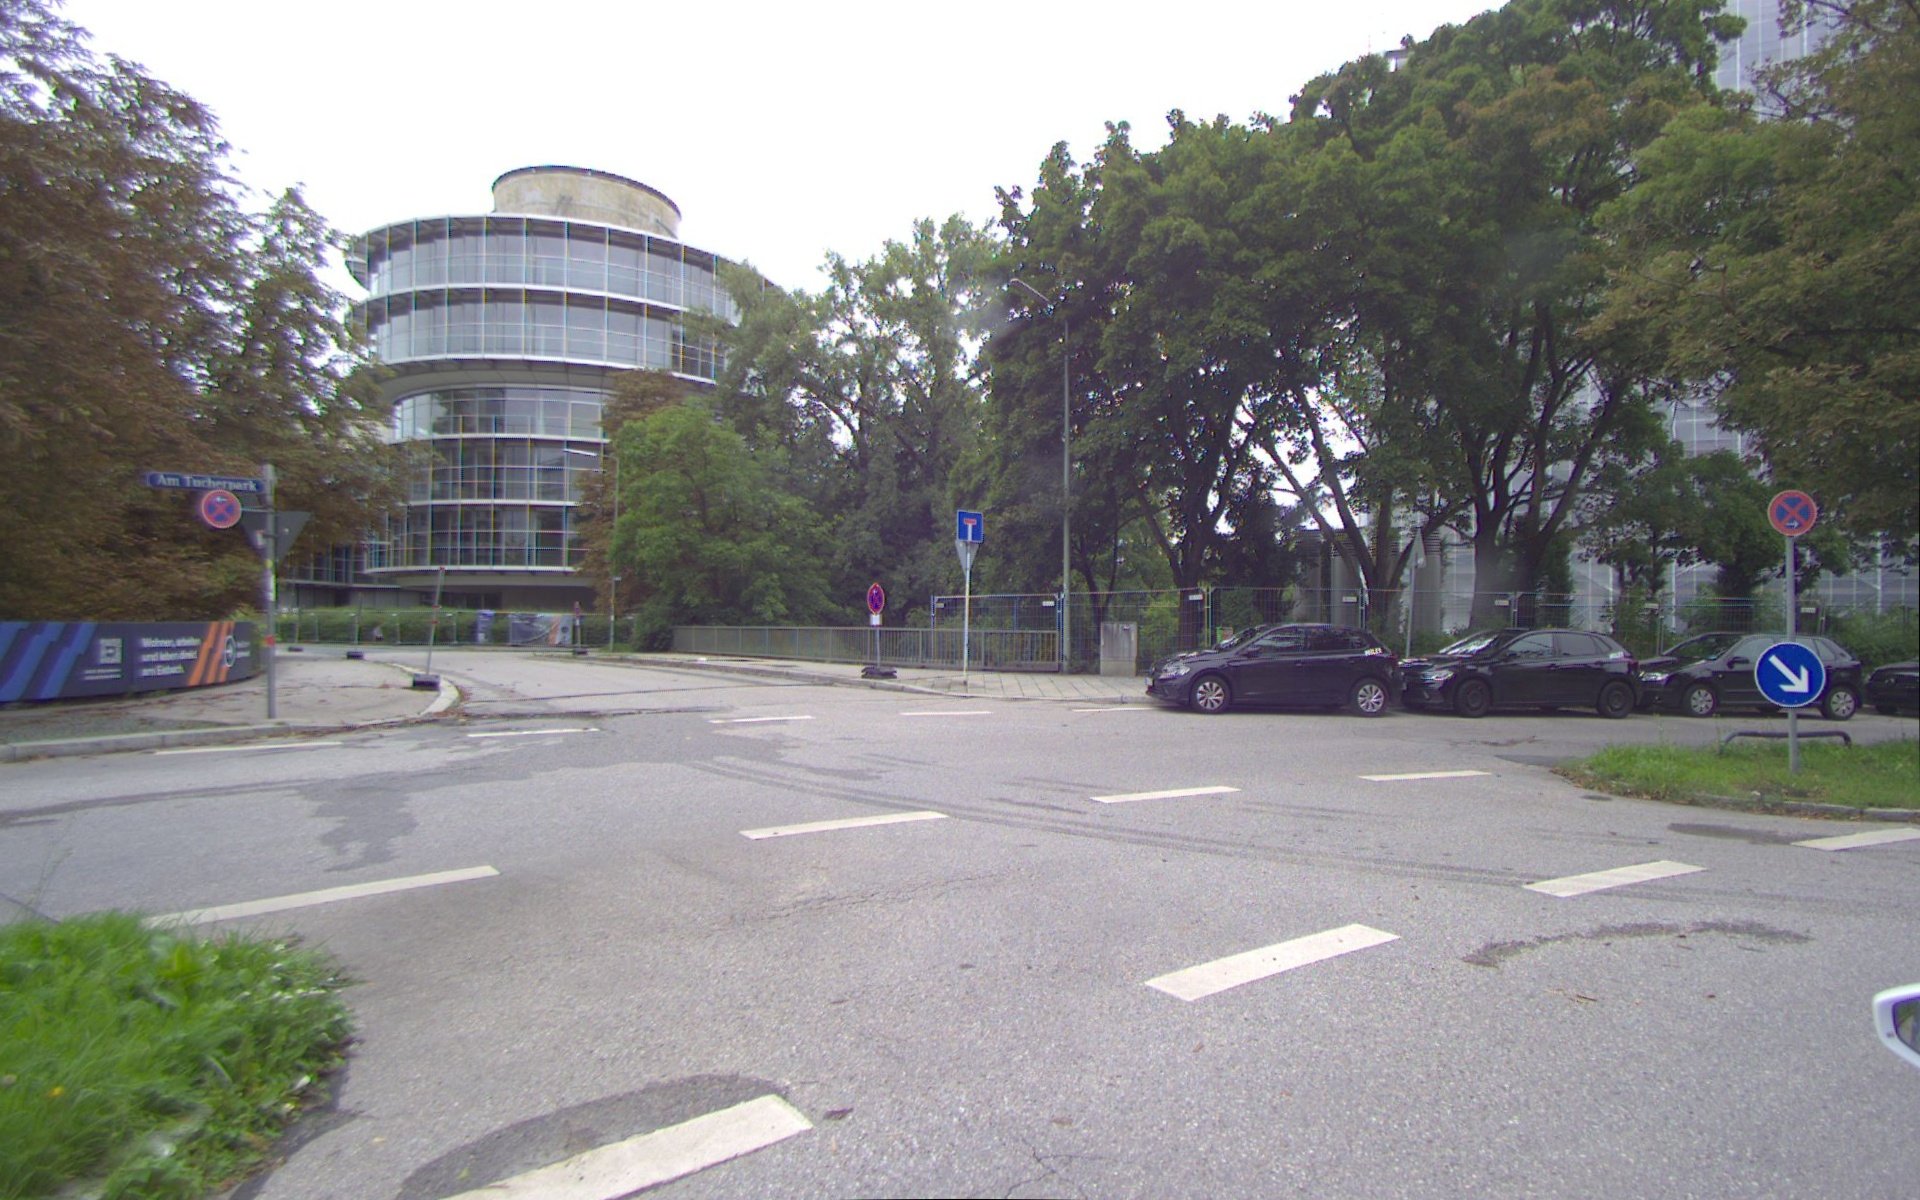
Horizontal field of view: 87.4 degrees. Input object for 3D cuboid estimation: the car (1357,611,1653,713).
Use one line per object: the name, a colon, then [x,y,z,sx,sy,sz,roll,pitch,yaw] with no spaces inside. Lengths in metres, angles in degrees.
car: [9.059,1.008,16.920,3.924,1.561,1.999,1,0,-4]

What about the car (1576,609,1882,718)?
car: [13.410,1.067,17.687,3.924,1.728,1.999,1,0,-4]

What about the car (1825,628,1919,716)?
car: [18.184,1.287,18.009,3.929,1.480,1.839,1,-2,-4]

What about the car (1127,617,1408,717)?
car: [4.937,1.064,16.542,3.965,1.452,1.999,1,0,-4]
